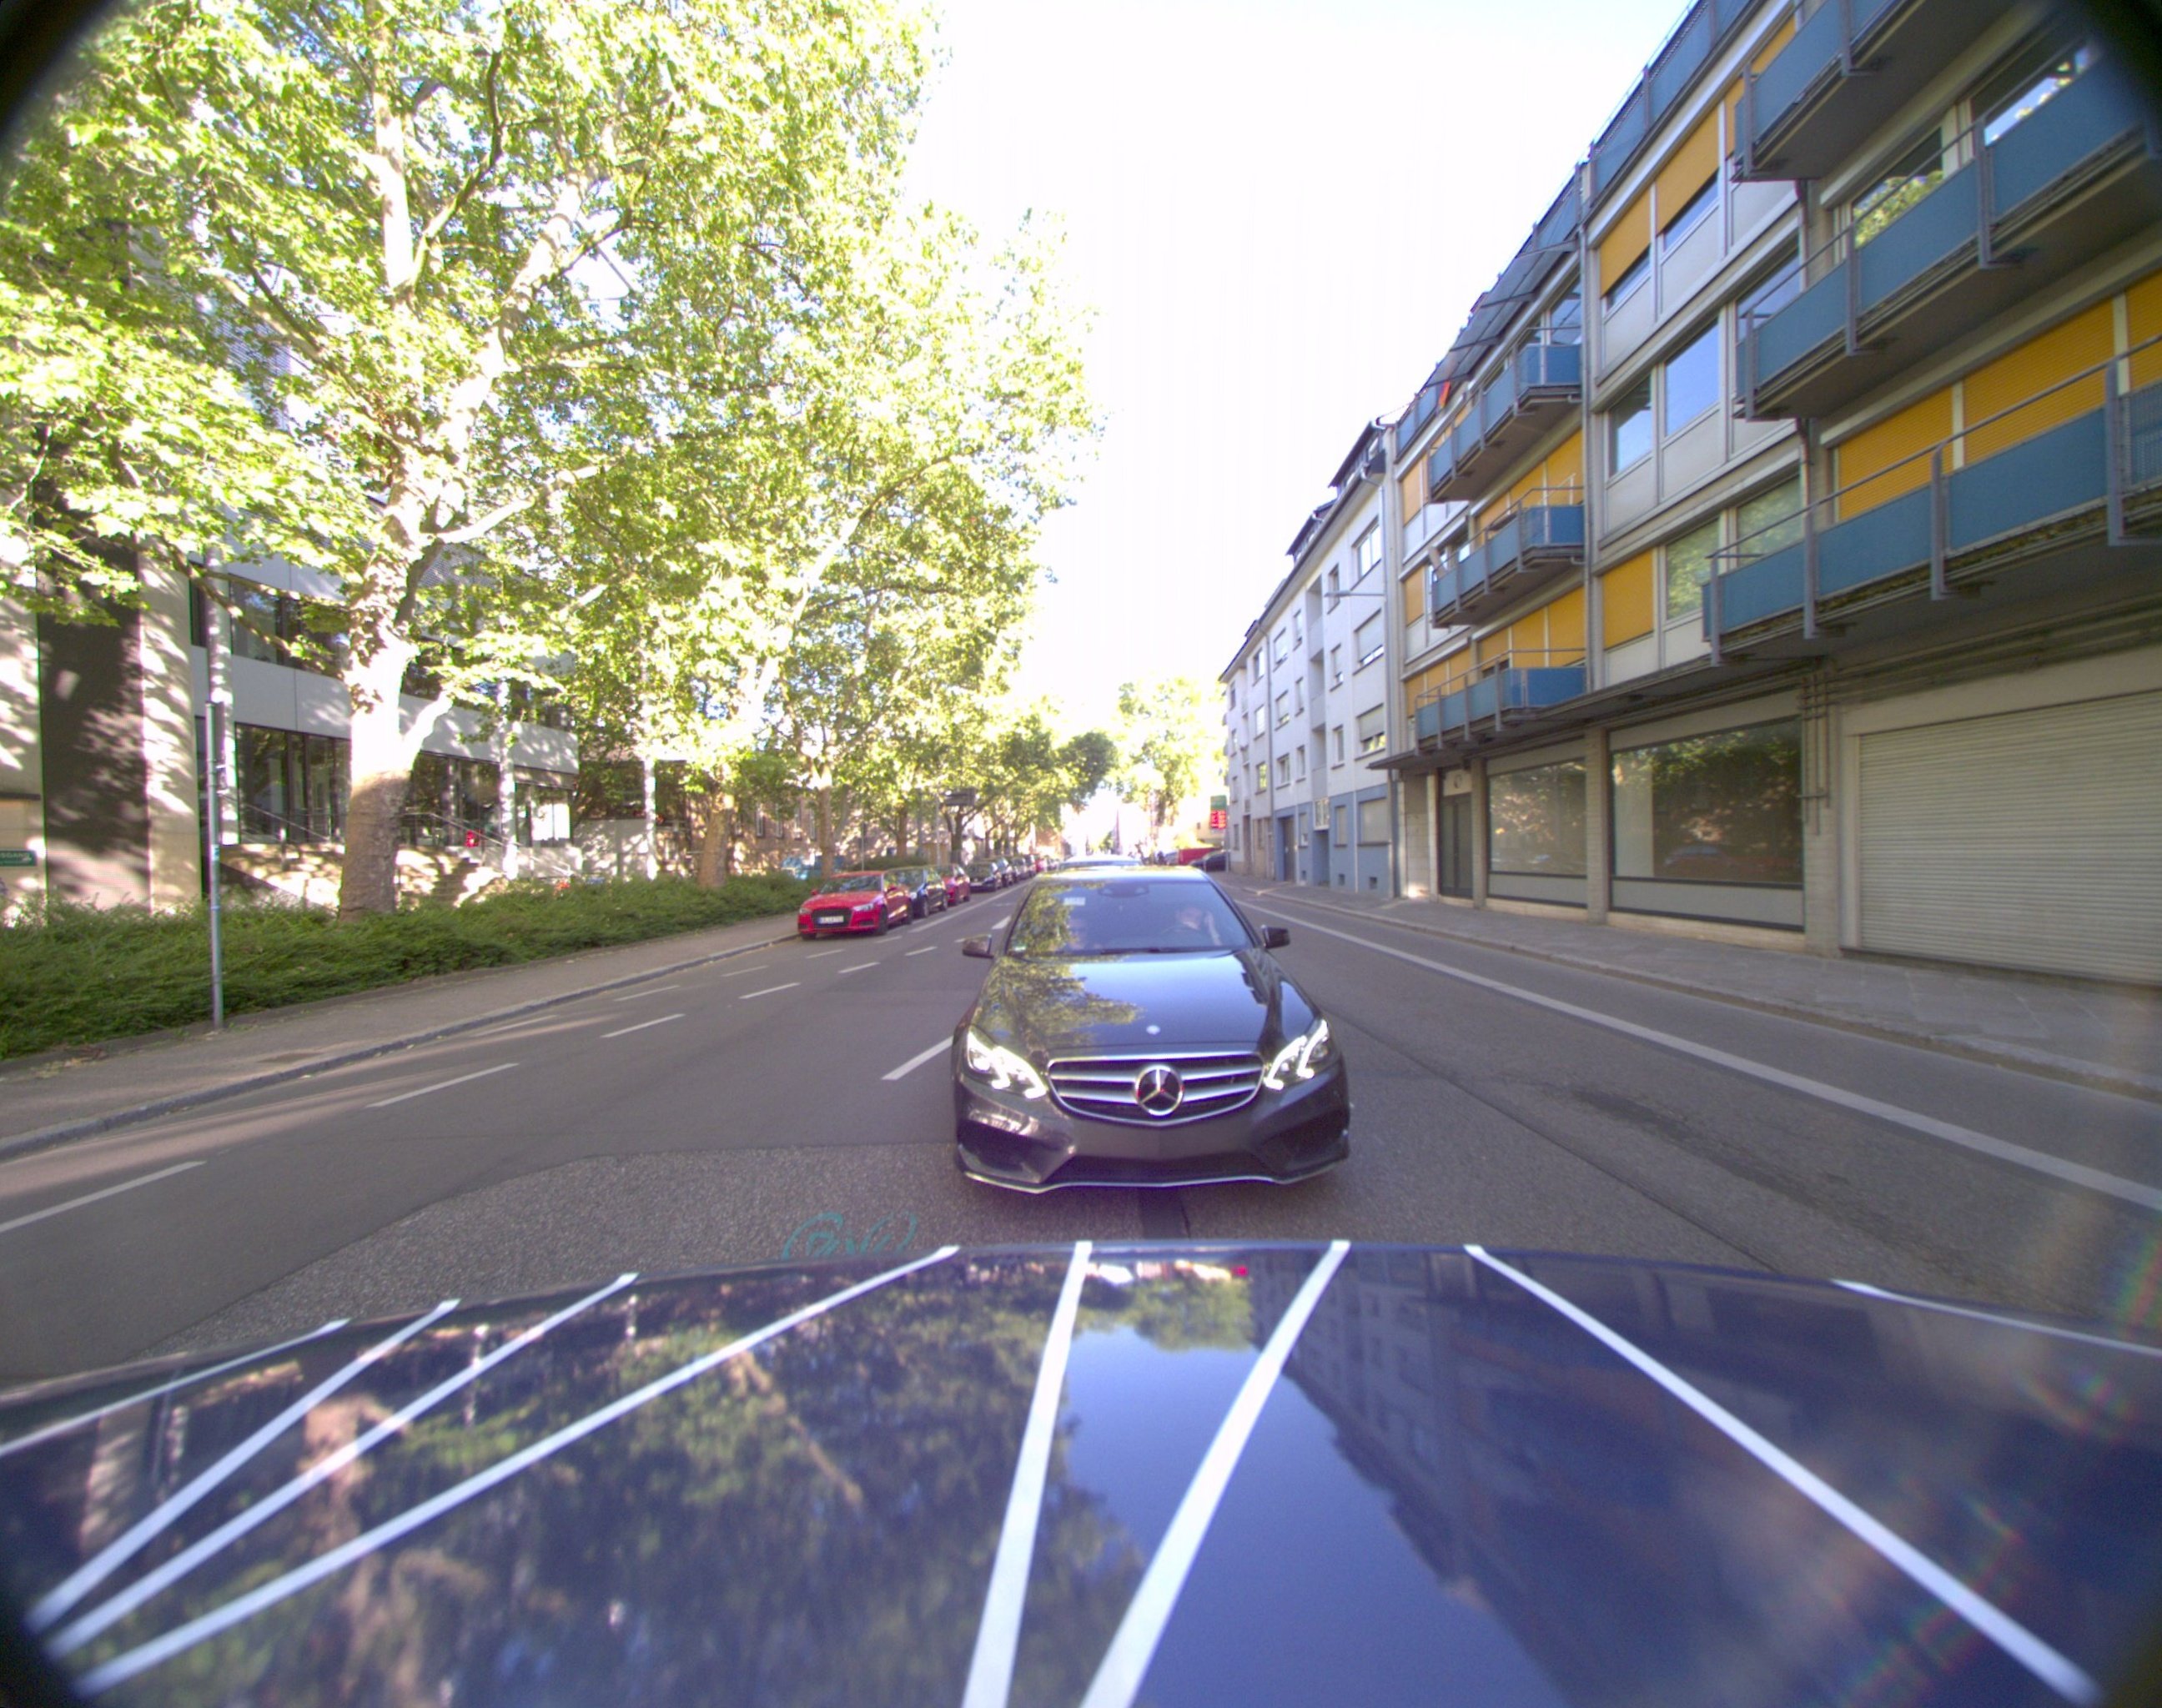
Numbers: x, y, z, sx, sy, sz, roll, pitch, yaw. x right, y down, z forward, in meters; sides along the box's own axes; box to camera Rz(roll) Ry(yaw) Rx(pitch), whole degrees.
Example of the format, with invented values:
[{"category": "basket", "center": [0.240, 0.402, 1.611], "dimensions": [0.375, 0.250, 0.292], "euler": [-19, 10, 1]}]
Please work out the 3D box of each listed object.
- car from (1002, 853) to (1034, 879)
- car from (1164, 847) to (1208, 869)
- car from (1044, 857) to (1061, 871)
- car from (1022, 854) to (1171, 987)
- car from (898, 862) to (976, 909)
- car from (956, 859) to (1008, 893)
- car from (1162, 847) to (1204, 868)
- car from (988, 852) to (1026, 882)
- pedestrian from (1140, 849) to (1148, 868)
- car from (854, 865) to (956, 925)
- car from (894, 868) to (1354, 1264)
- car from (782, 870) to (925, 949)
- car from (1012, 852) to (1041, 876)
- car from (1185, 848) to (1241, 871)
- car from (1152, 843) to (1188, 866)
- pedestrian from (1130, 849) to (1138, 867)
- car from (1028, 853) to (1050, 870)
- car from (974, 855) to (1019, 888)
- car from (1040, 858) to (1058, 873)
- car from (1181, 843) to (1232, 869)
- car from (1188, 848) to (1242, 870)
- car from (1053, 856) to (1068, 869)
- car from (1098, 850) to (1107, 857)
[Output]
[{"category": "car", "center": [-4.495, 0.818, 54.797], "dimensions": [1.866, 1.749, 4.481], "euler": [-2, 0, 1]}, {"category": "car", "center": [10.256, 0.378, 74.501], "dimensions": [3.996, 1.936, 2.000], "euler": [-2, 1, 2]}, {"category": "car", "center": [-3.646, 1.237, 96.780], "dimensions": [1.866, 1.632, 4.481], "euler": [-2, 0, 1]}, {"category": "car", "center": [0.231, 0.856, 11.927], "dimensions": [1.866, 1.630, 4.303], "euler": [-2, 0, 1]}, {"category": "car", "center": [-5.081, 1.064, 27.422], "dimensions": [1.866, 1.442, 4.481], "euler": [-2, 0, 1]}, {"category": "car", "center": [-4.749, 1.023, 37.169], "dimensions": [1.866, 1.442, 4.481], "euler": [-2, 0, 1]}, {"category": "car", "center": [10.340, 0.345, 77.143], "dimensions": [3.996, 1.936, 2.000], "euler": [-2, 1, 2]}, {"category": "car", "center": [-4.625, 0.783, 48.130], "dimensions": [1.866, 1.749, 4.481], "euler": [-2, 0, 1]}, {"category": "pedestrian", "center": [6.971, 0.491, 84.193], "dimensions": [0.735, 2.002, 1.046], "euler": [-2, 1, 0]}, {"category": "car", "center": [-5.037, 1.122, 22.378], "dimensions": [1.866, 1.442, 4.481], "euler": [-2, 0, 1]}, {"category": "car", "center": [0.211, 0.931, 5.404], "dimensions": [1.866, 1.492, 4.481], "euler": [-2, 0, 1]}, {"category": "car", "center": [-5.098, 1.176, 17.727], "dimensions": [1.866, 1.442, 4.481], "euler": [-2, 0, 1]}, {"category": "car", "center": [-4.238, 0.756, 59.752], "dimensions": [1.866, 1.749, 4.481], "euler": [-2, 0, 1]}, {"category": "car", "center": [10.182, 0.424, 58.867], "dimensions": [3.996, 1.543, 2.000], "euler": [-2, 1, 2]}, {"category": "car", "center": [10.498, 0.005, 89.503], "dimensions": [3.996, 2.505, 2.000], "euler": [-2, 1, 2]}, {"category": "pedestrian", "center": [5.889, 0.445, 84.587], "dimensions": [0.735, 2.002, 0.797], "euler": [-2, 1, 1]}, {"category": "car", "center": [-4.190, 0.705, 76.275], "dimensions": [1.866, 1.632, 4.481], "euler": [-2, 0, 1]}, {"category": "car", "center": [-4.614, 0.906, 42.203], "dimensions": [1.866, 1.658, 4.481], "euler": [-2, 0, 1]}, {"category": "car", "center": [-3.756, 1.322, 89.981], "dimensions": [1.866, 1.632, 4.481], "euler": [-2, 0, 1]}, {"category": "car", "center": [10.556, 0.155, 64.020], "dimensions": [3.996, 1.936, 2.000], "euler": [-2, 1, 2]}, {"category": "car", "center": [10.723, 0.377, 61.189], "dimensions": [3.996, 1.543, 2.000], "euler": [-2, 1, 2]}, {"category": "car", "center": [-2.813, 1.113, 105.187], "dimensions": [1.866, 1.632, 4.481], "euler": [-2, 0, 1]}, {"category": "car", "center": [5.051, -0.118, 177.337], "dimensions": [1.866, 1.632, 4.481], "euler": [-2, 0, 1]}]
